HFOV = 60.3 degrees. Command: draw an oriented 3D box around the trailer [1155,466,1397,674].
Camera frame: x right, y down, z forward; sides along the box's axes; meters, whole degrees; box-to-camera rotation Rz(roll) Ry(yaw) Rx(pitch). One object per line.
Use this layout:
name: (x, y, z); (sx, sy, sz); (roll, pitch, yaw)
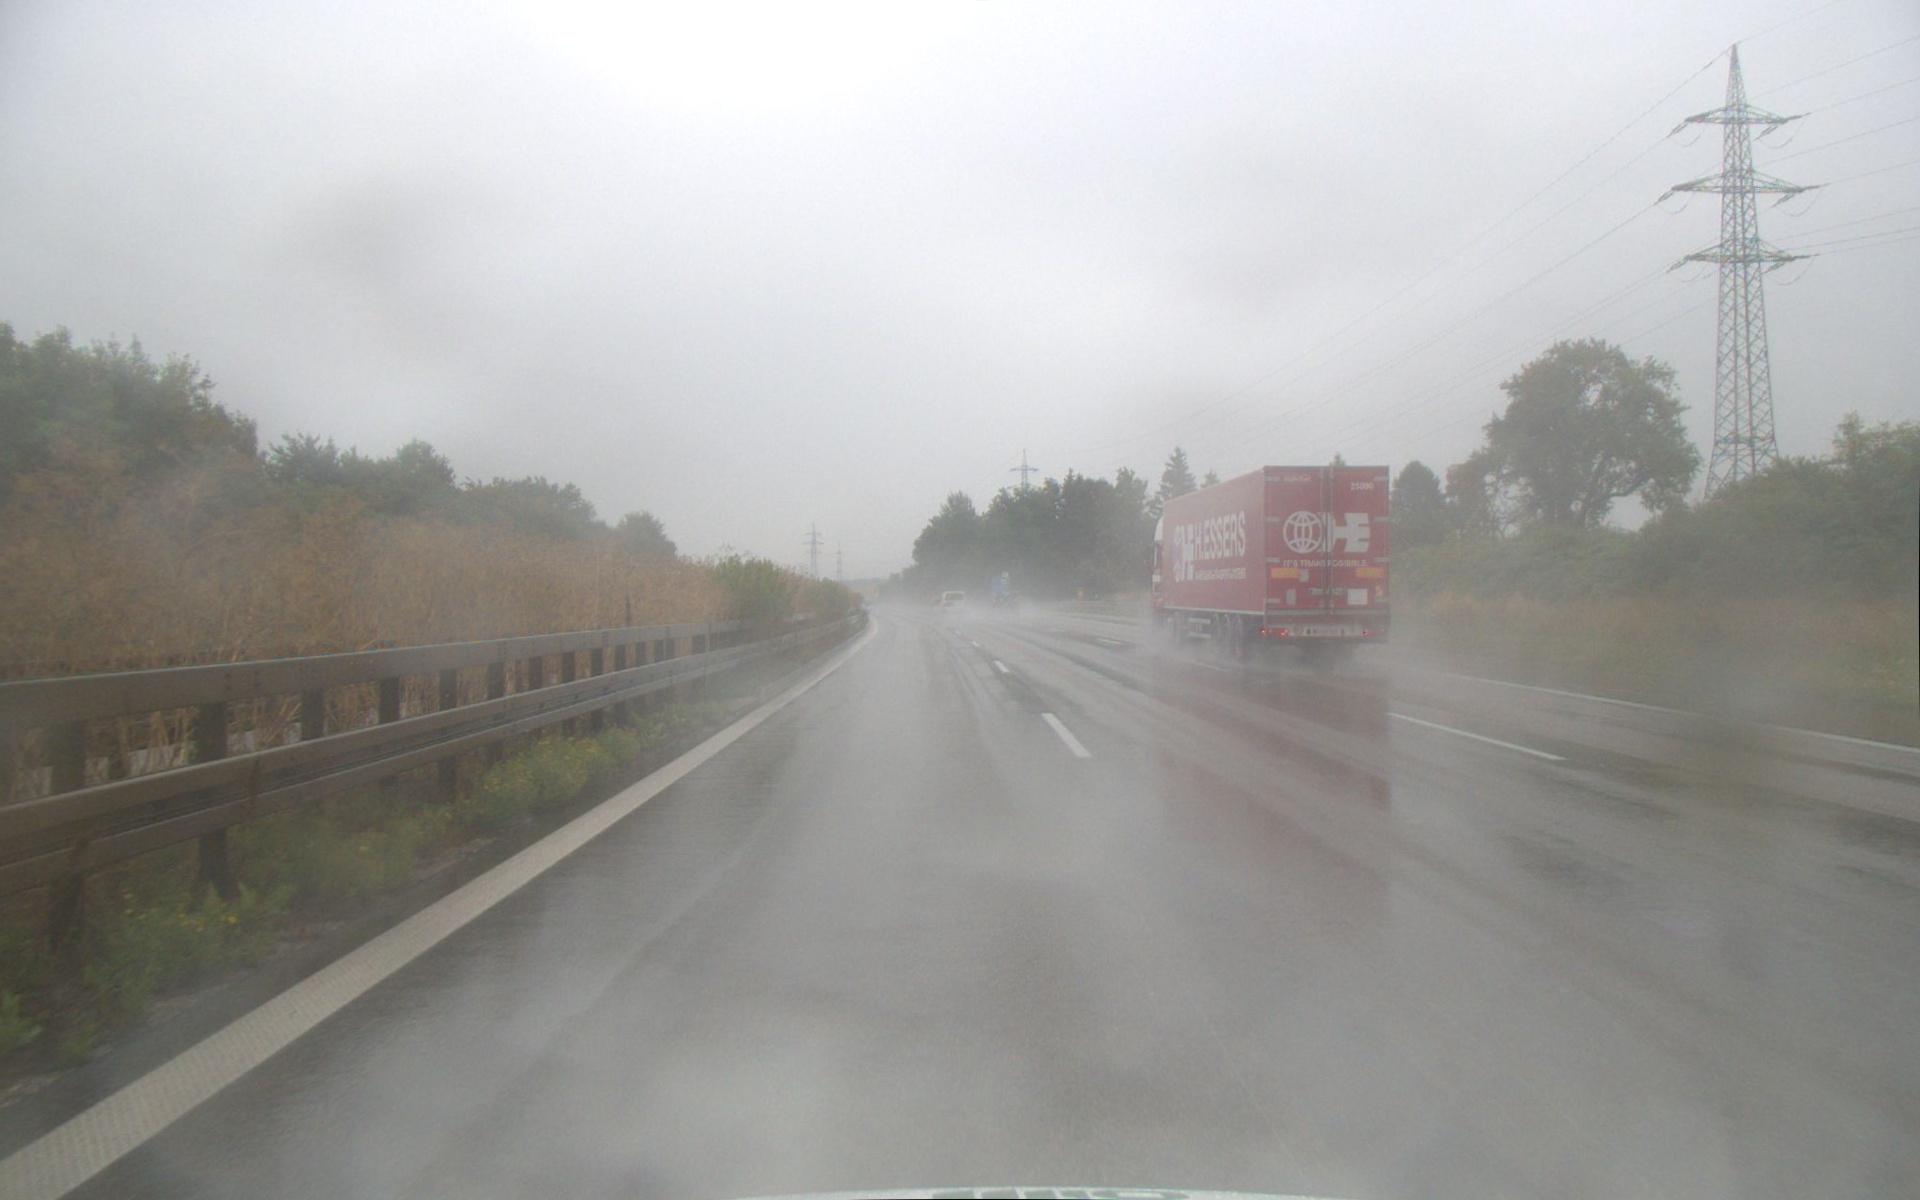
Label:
trailer: (7.083, -0.606, 39.643); (2.568, 4.024, 13.624); (-2, 0, -2)

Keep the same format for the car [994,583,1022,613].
car: (3.652, -0.134, 126.526); (1.771, 2.196, 3.998); (-2, 0, -3)

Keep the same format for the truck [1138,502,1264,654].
truck: (6.816, -0.607, 47.483); (2.567, 4.024, 5.431); (-2, 0, -2)
